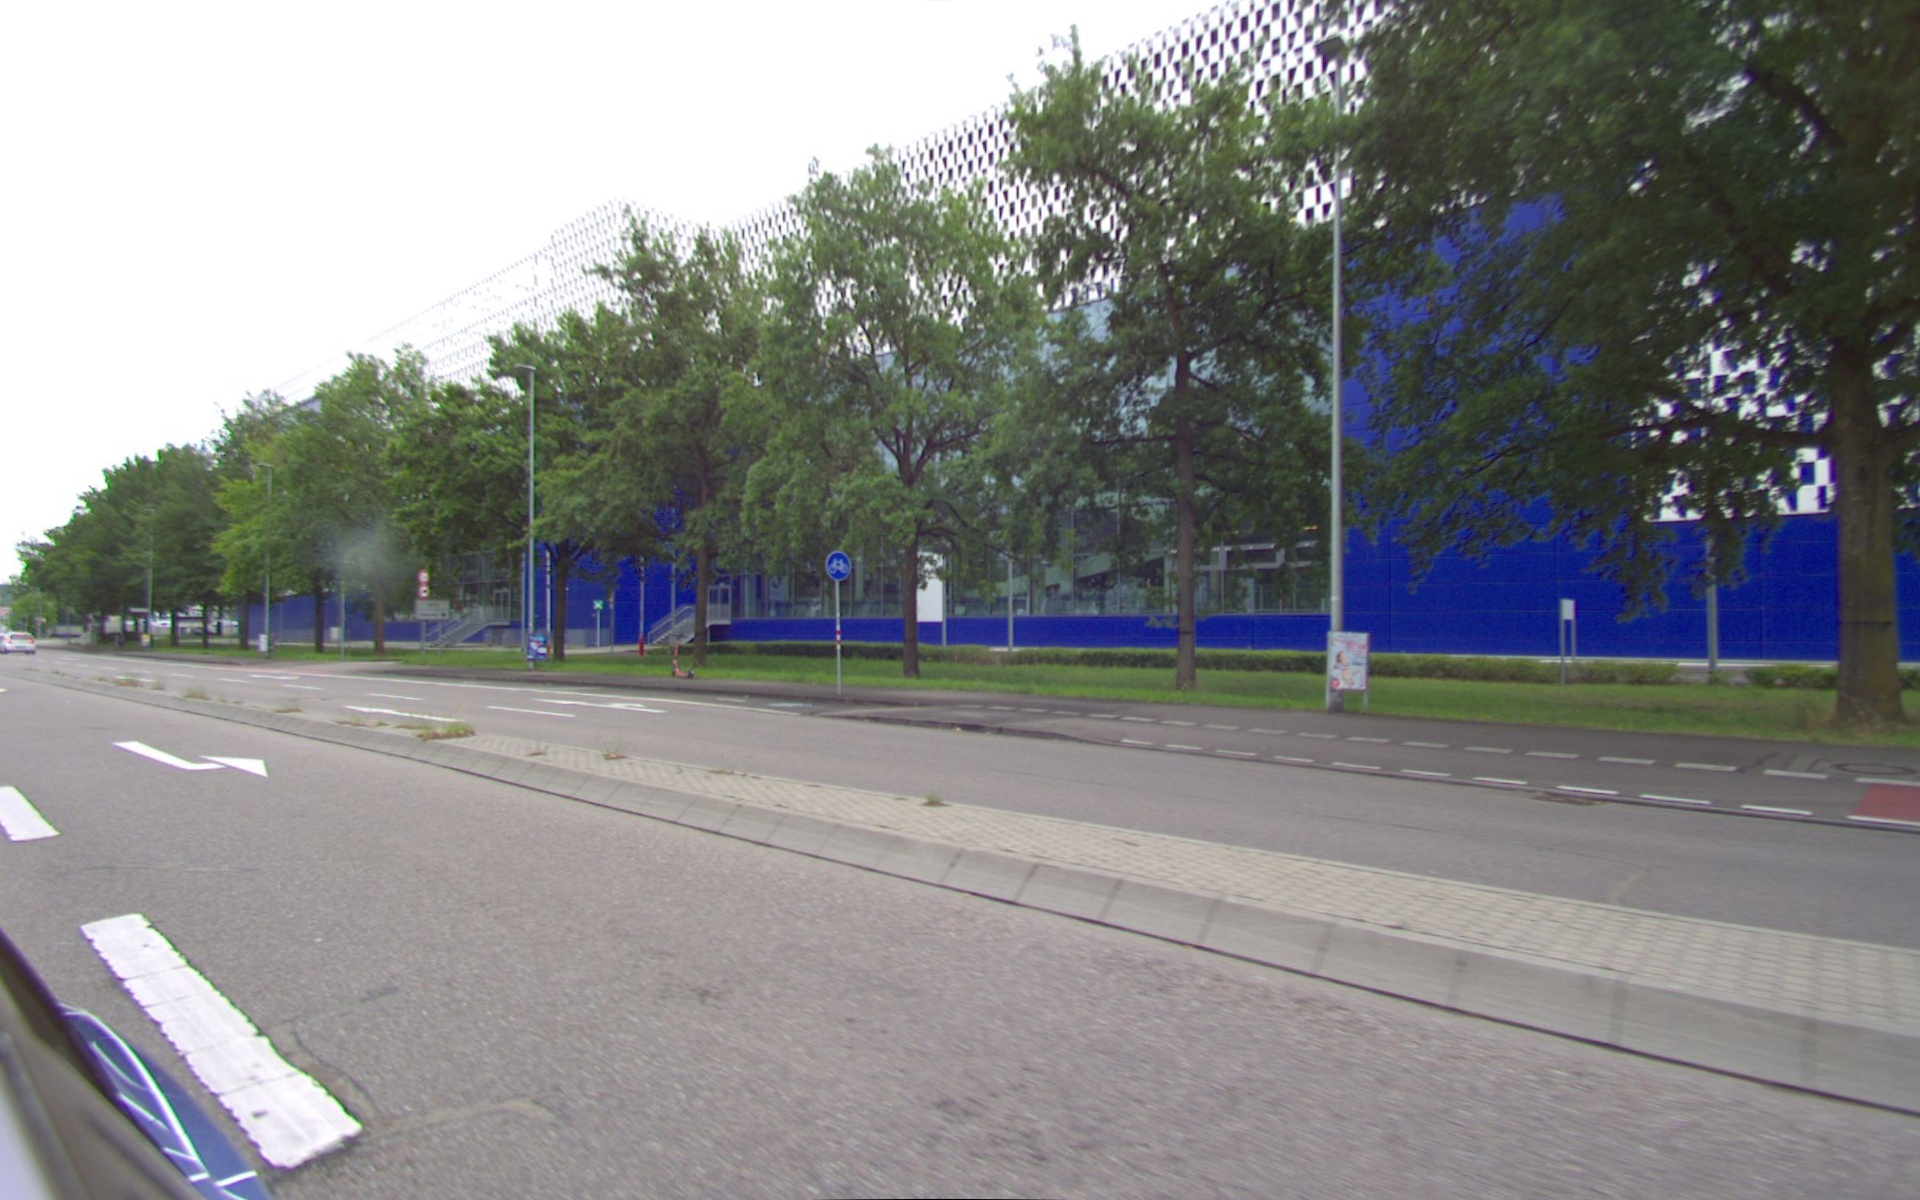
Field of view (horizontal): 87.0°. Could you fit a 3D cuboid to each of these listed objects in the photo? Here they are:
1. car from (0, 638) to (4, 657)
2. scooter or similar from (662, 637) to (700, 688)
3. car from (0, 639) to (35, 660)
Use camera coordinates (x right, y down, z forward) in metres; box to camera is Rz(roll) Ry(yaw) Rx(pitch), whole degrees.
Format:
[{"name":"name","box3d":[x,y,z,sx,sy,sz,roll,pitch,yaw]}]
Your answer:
[{"name":"car","box3d":[-73.824,3.599,76.632,3.609,1.434,1.607,-2,-4,40]},{"name":"scooter or similar","box3d":[-7.603,1.681,27.558,0.441,1.332,1.508,1,-3,-39]},{"name":"car","box3d":[-65.006,3.393,69.432,3.645,1.439,1.660,-2,-4,38]}]
